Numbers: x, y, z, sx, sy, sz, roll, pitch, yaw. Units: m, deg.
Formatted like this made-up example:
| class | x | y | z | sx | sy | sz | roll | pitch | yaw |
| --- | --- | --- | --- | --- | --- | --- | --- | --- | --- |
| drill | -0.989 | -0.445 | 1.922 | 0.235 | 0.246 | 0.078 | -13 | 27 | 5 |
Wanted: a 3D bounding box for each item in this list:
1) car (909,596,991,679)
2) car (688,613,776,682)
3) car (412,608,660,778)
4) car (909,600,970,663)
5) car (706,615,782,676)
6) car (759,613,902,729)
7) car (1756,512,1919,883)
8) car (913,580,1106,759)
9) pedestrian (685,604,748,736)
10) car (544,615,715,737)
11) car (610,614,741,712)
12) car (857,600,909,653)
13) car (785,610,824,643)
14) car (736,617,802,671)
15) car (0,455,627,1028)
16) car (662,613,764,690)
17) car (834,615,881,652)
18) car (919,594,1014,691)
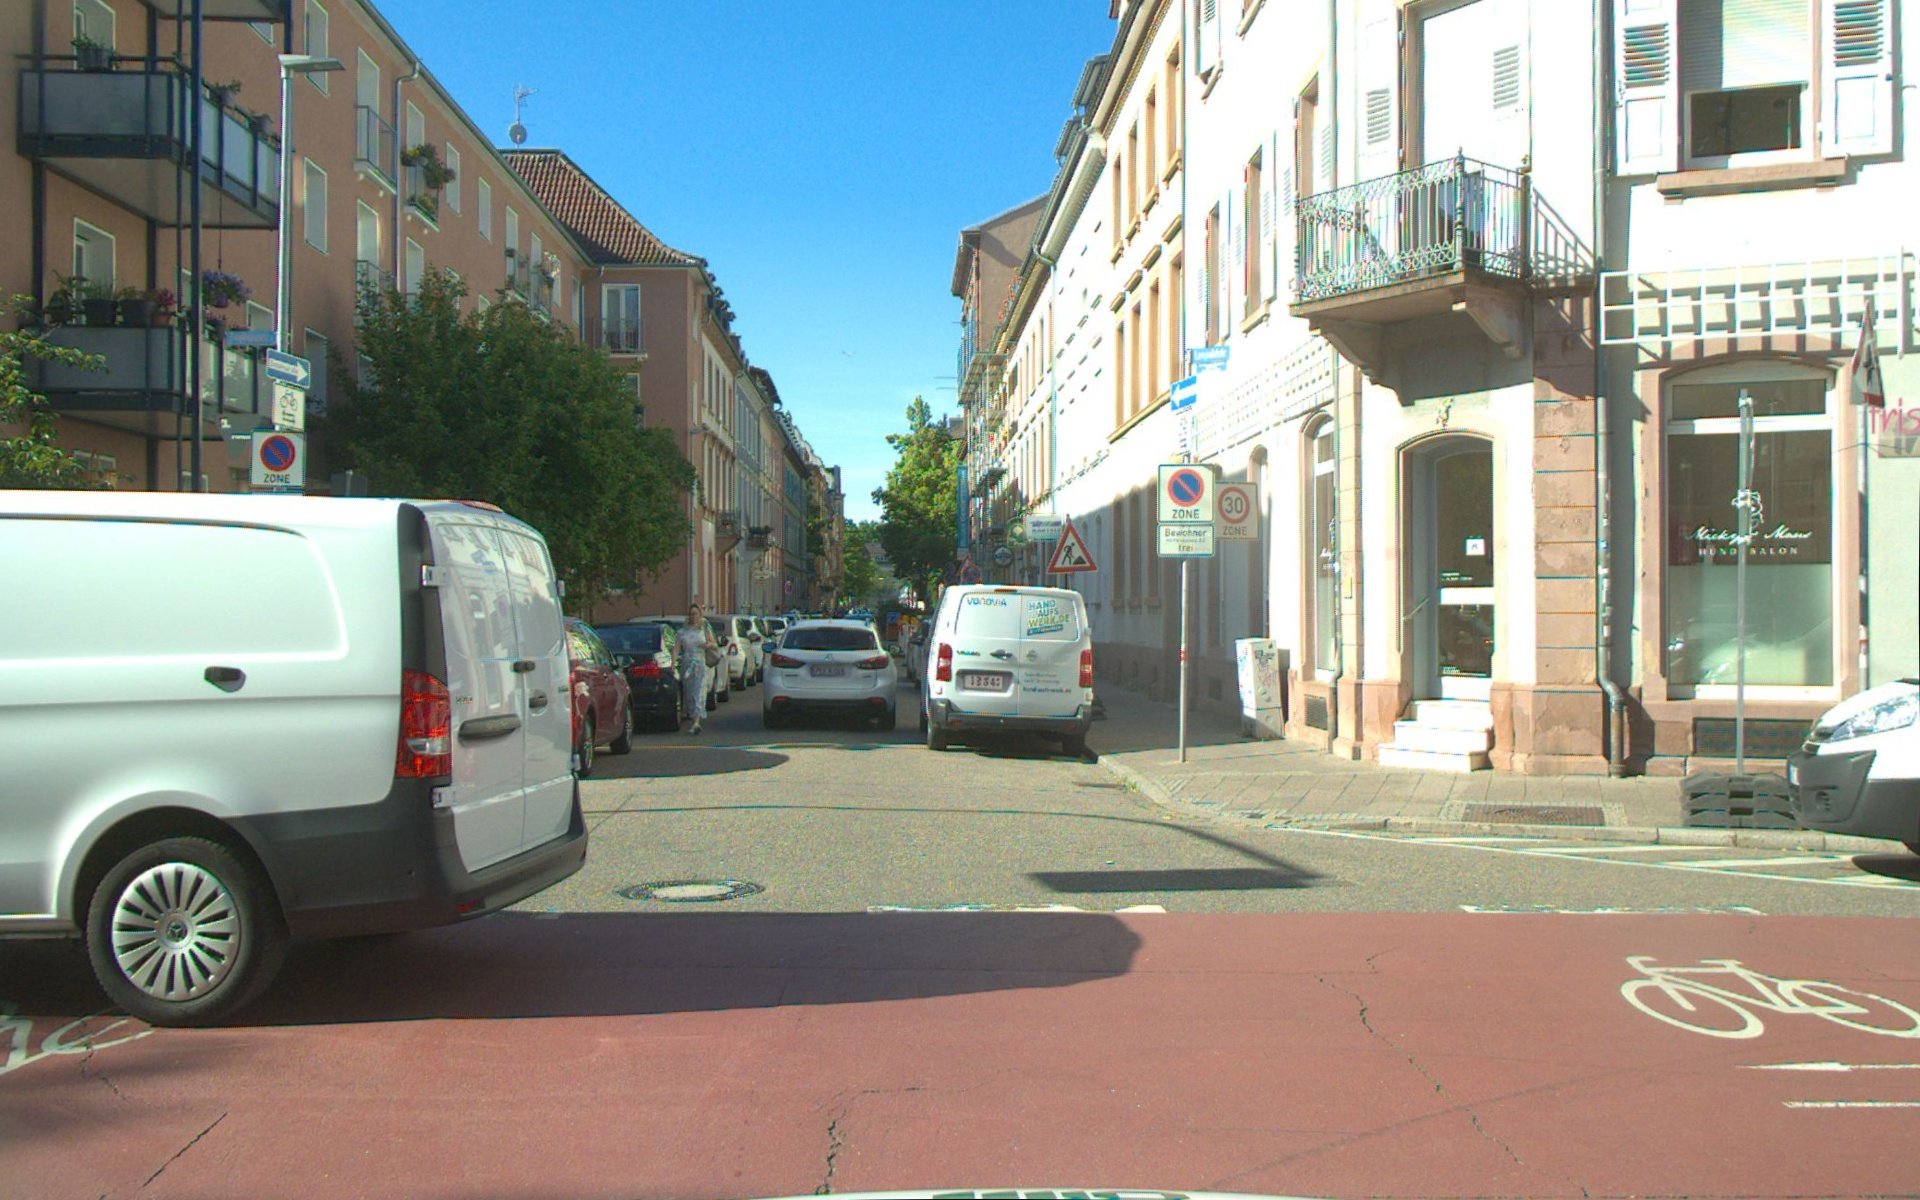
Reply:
| class | x | y | z | sx | sy | sz | roll | pitch | yaw |
| --- | --- | --- | --- | --- | --- | --- | --- | --- | --- |
| car | -0.267 | 0.865 | 39.543 | 1.856 | 1.892 | 3.993 | 0 | 0 | -1 |
| car | -5.259 | 1.064 | 38.548 | 1.620 | 1.526 | 3.761 | 0 | 0 | -1 |
| car | -4.267 | 0.874 | 17.194 | 1.651 | 1.526 | 3.805 | -1 | 0 | -1 |
| car | -0.667 | 0.963 | 51.787 | 1.856 | 1.892 | 3.993 | 0 | 0 | -1 |
| car | -5.691 | 1.175 | 43.977 | 1.620 | 1.526 | 3.761 | 0 | 0 | -1 |
| car | -1.735 | 0.959 | 23.280 | 1.794 | 1.483 | 3.960 | 0 | -1 | -2 |
| car | 7.181 | 0.522 | 9.096 | 4.906 | 1.980 | 2.050 | 0 | -1 | 22 |
| car | 0.475 | 0.772 | 20.579 | 1.857 | 1.892 | 5.009 | 2 | 0 | -4 |
| pedestrian | -3.121 | 0.882 | 21.131 | 0.720 | 1.642 | 0.813 | 0 | -1 | -14 |
| car | -4.439 | 0.969 | 22.742 | 1.620 | 1.526 | 4.078 | 0 | 0 | -1 |
| car | -4.707 | 1.003 | 27.787 | 1.620 | 1.526 | 3.761 | 0 | 0 | -1 |
| car | -2.823 | 0.958 | 61.499 | 1.856 | 1.892 | 3.993 | 0 | 0 | -1 |
| car | -7.498 | 1.262 | 79.975 | 1.620 | 1.526 | 3.761 | 0 | 0 | -1 |
| car | -5.631 | 1.278 | 49.130 | 1.620 | 1.526 | 3.761 | 0 | 0 | -1 |
| car | -4.259 | 0.485 | 6.790 | 5.293 | 1.941 | 2.108 | 0 | 0 | 3 |
| car | -5.081 | 1.028 | 34.410 | 1.620 | 1.526 | 3.761 | 0 | 0 | -1 |
| car | -4.082 | 1.327 | 66.360 | 1.725 | 1.435 | 4.326 | 0 | 0 | -1 |
| car | 0.083 | 0.846 | 34.231 | 1.856 | 1.892 | 3.993 | 0 | 0 | -1 |
